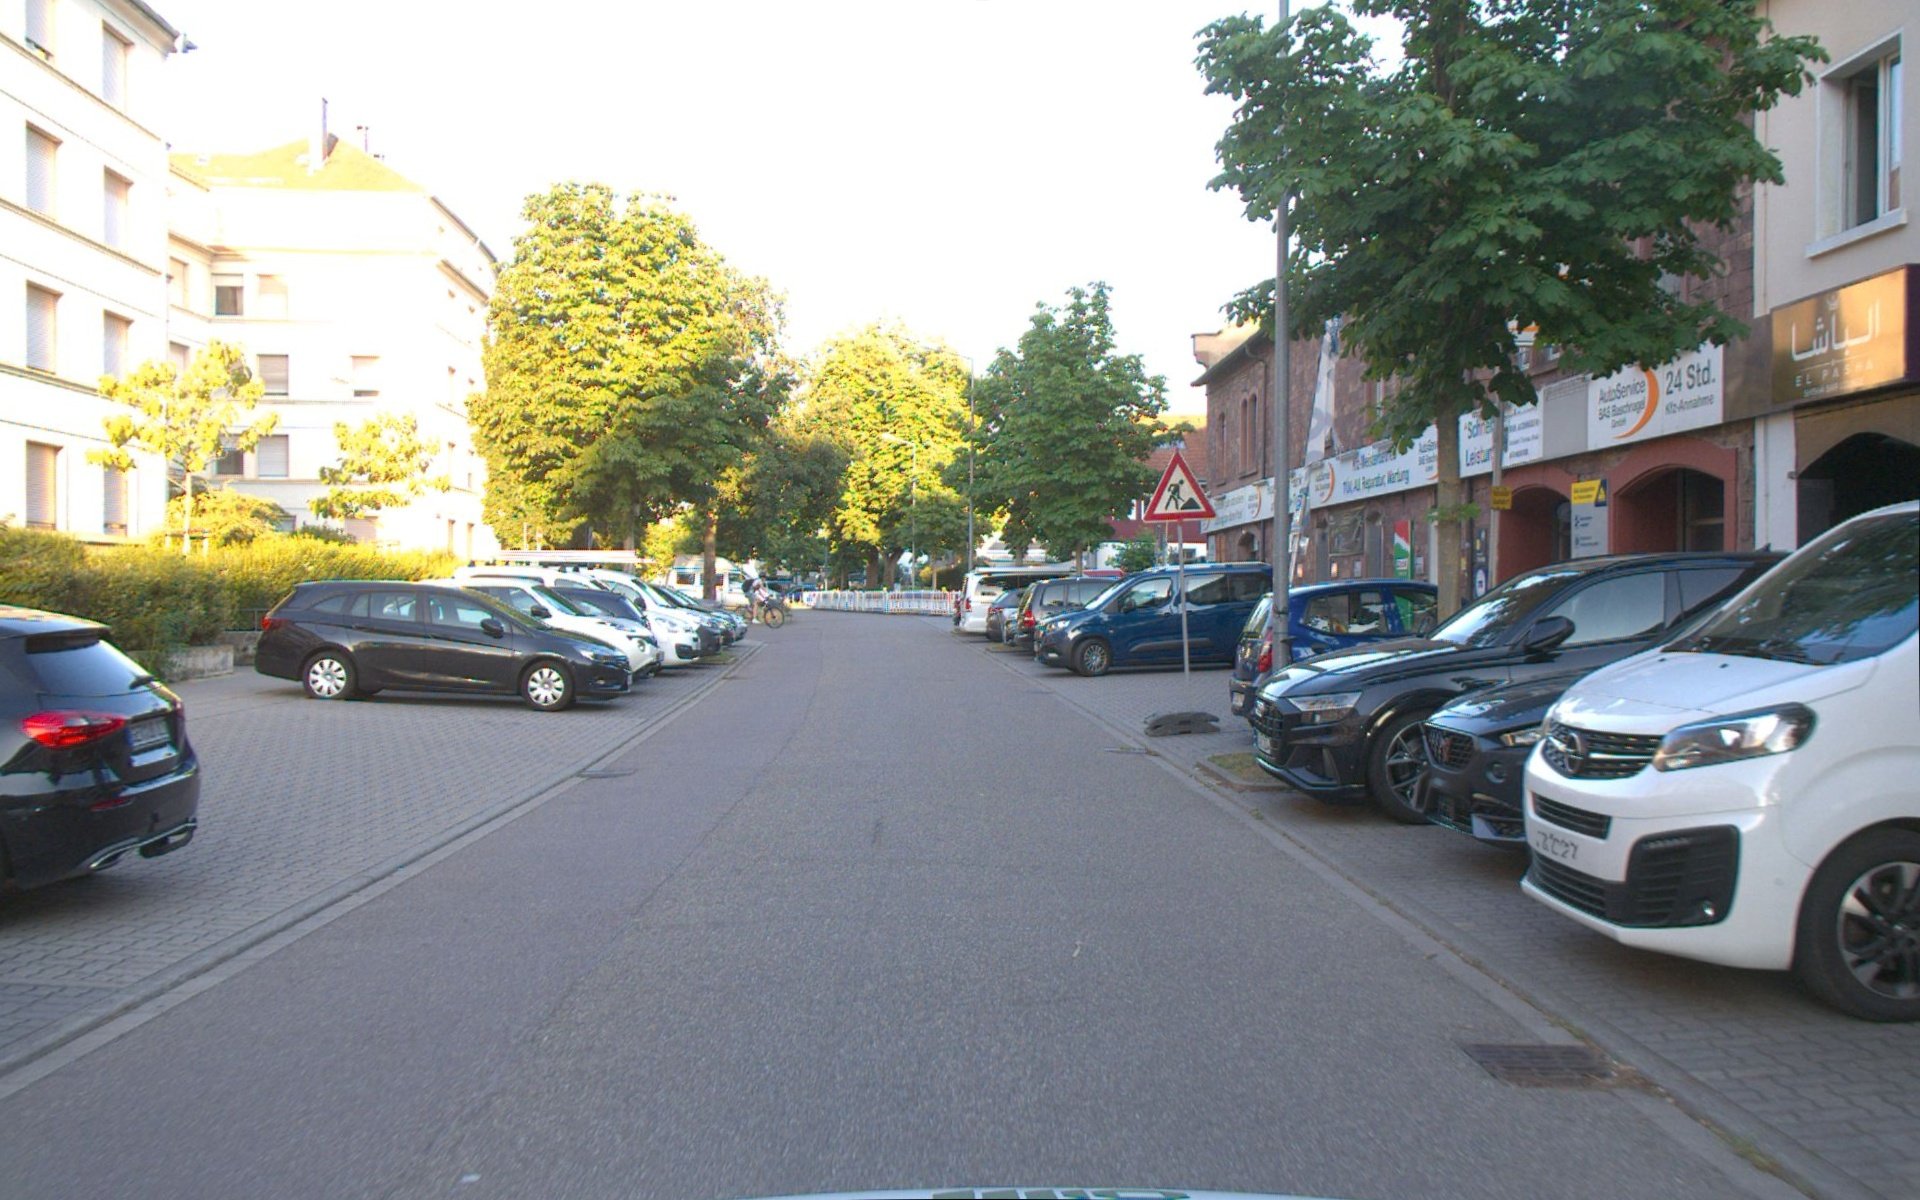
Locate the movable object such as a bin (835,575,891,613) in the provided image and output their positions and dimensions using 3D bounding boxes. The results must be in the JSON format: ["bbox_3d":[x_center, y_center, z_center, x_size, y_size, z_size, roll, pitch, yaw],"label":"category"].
[{"bbox_3d":[-6.591,-0.411,112.024,2.587,2.445,5.171,0,0,-18],"label":"movable object such as a bin"}]

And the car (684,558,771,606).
[{"bbox_3d":[-12.180,-0.918,86.422,4.421,2.473,1.995,0,0,-11],"label":"car"}]

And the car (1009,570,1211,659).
[{"bbox_3d":[3.106,0.287,34.760,3.909,1.647,1.893,-3,0,-5],"label":"car"}]

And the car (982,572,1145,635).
[{"bbox_3d":[2.577,0.076,41.806,3.908,1.536,1.775,0,0,-4],"label":"car"}]

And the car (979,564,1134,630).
[{"bbox_3d":[2.715,-0.085,47.179,4.216,1.830,1.903,0,0,-4],"label":"car"}]

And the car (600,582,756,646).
[{"bbox_3d":[-7.002,0.340,41.314,3.638,1.532,1.689,0,0,-2],"label":"car"}]

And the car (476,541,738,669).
[{"bbox_3d":[-6.616,0.075,31.357,4.420,2.106,2.000,3,1,0],"label":"car"}]

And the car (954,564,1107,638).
[{"bbox_3d":[1.856,0.018,44.583,3.908,1.937,1.998,0,0,-4],"label":"car"}]

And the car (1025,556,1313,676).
[{"bbox_3d":[3.636,0.239,29.339,4.692,1.784,2.016,-3,1,-4],"label":"car"}]

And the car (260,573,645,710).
[{"bbox_3d":[-6.339,0.512,21.084,4.322,1.477,1.826,3,0,-5],"label":"car"}]

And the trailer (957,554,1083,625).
[{"bbox_3d":[1.930,-0.337,53.984,3.908,2.226,1.999,0,0,-4],"label":"trailer"}]

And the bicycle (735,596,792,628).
[{"bbox_3d":[-6.435,0.394,54.267,1.834,1.015,0.371,0,0,-25],"label":"bicycle"}]

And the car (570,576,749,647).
[{"bbox_3d":[-7.007,0.258,38.856,3.906,1.611,1.728,0,0,-2],"label":"car"}]

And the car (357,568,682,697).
[{"bbox_3d":[-6.229,0.433,23.751,4.158,1.649,1.812,2,1,-3],"label":"car"}]

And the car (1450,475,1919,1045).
[{"bbox_3d":[4.606,0.405,6.767,4.495,1.894,2.012,-5,0,-1],"label":"car"}]

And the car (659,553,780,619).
[{"bbox_3d":[-9.749,-0.571,67.352,4.636,2.614,1.999,0,0,-3],"label":"car"}]

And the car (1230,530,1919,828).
[{"bbox_3d":[4.421,0.487,11.727,4.600,1.659,2.000,-4,1,-1],"label":"car"}]

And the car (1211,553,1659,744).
[{"bbox_3d":[4.692,0.454,16.721,3.908,1.572,1.844,-4,0,-3],"label":"car"}]

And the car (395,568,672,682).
[{"bbox_3d":[-6.693,0.378,26.296,3.909,1.510,1.754,4,0,-4],"label":"car"}]

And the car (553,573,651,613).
[{"bbox_3d":[-17.461,-0.359,80.865,4.589,1.906,1.995,0,0,-11],"label":"car"}]

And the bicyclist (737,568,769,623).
[{"bbox_3d":[-6.771,-0.144,54.064,0.827,1.756,0.795,0,0,-26],"label":"bicyclist"}]

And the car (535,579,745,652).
[{"bbox_3d":[-7.008,0.333,36.563,4.239,1.430,1.851,2,0,-2],"label":"car"}]

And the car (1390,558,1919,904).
[{"bbox_3d":[4.602,0.595,9.091,3.906,1.522,1.892,-4,0,-1],"label":"car"}]

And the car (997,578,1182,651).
[{"bbox_3d":[2.885,0.319,37.190,3.870,1.592,1.818,0,0,-7],"label":"car"}]

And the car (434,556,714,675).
[{"bbox_3d":[-6.593,0.247,28.617,4.331,1.833,1.943,2,1,-1],"label":"car"}]

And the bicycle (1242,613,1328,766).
[{"bbox_3d":[2.778,0.731,14.257,0.302,1.213,1.761,0,0,-3],"label":"bicycle"}]

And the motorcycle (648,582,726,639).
[{"bbox_3d":[-7.077,0.272,42.925,1.948,1.461,0.720,0,0,-8],"label":"motorcycle"}]

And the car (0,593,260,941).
[{"bbox_3d":[-5.700,0.658,7.751,4.059,1.441,1.736,2,0,-6],"label":"car"}]
